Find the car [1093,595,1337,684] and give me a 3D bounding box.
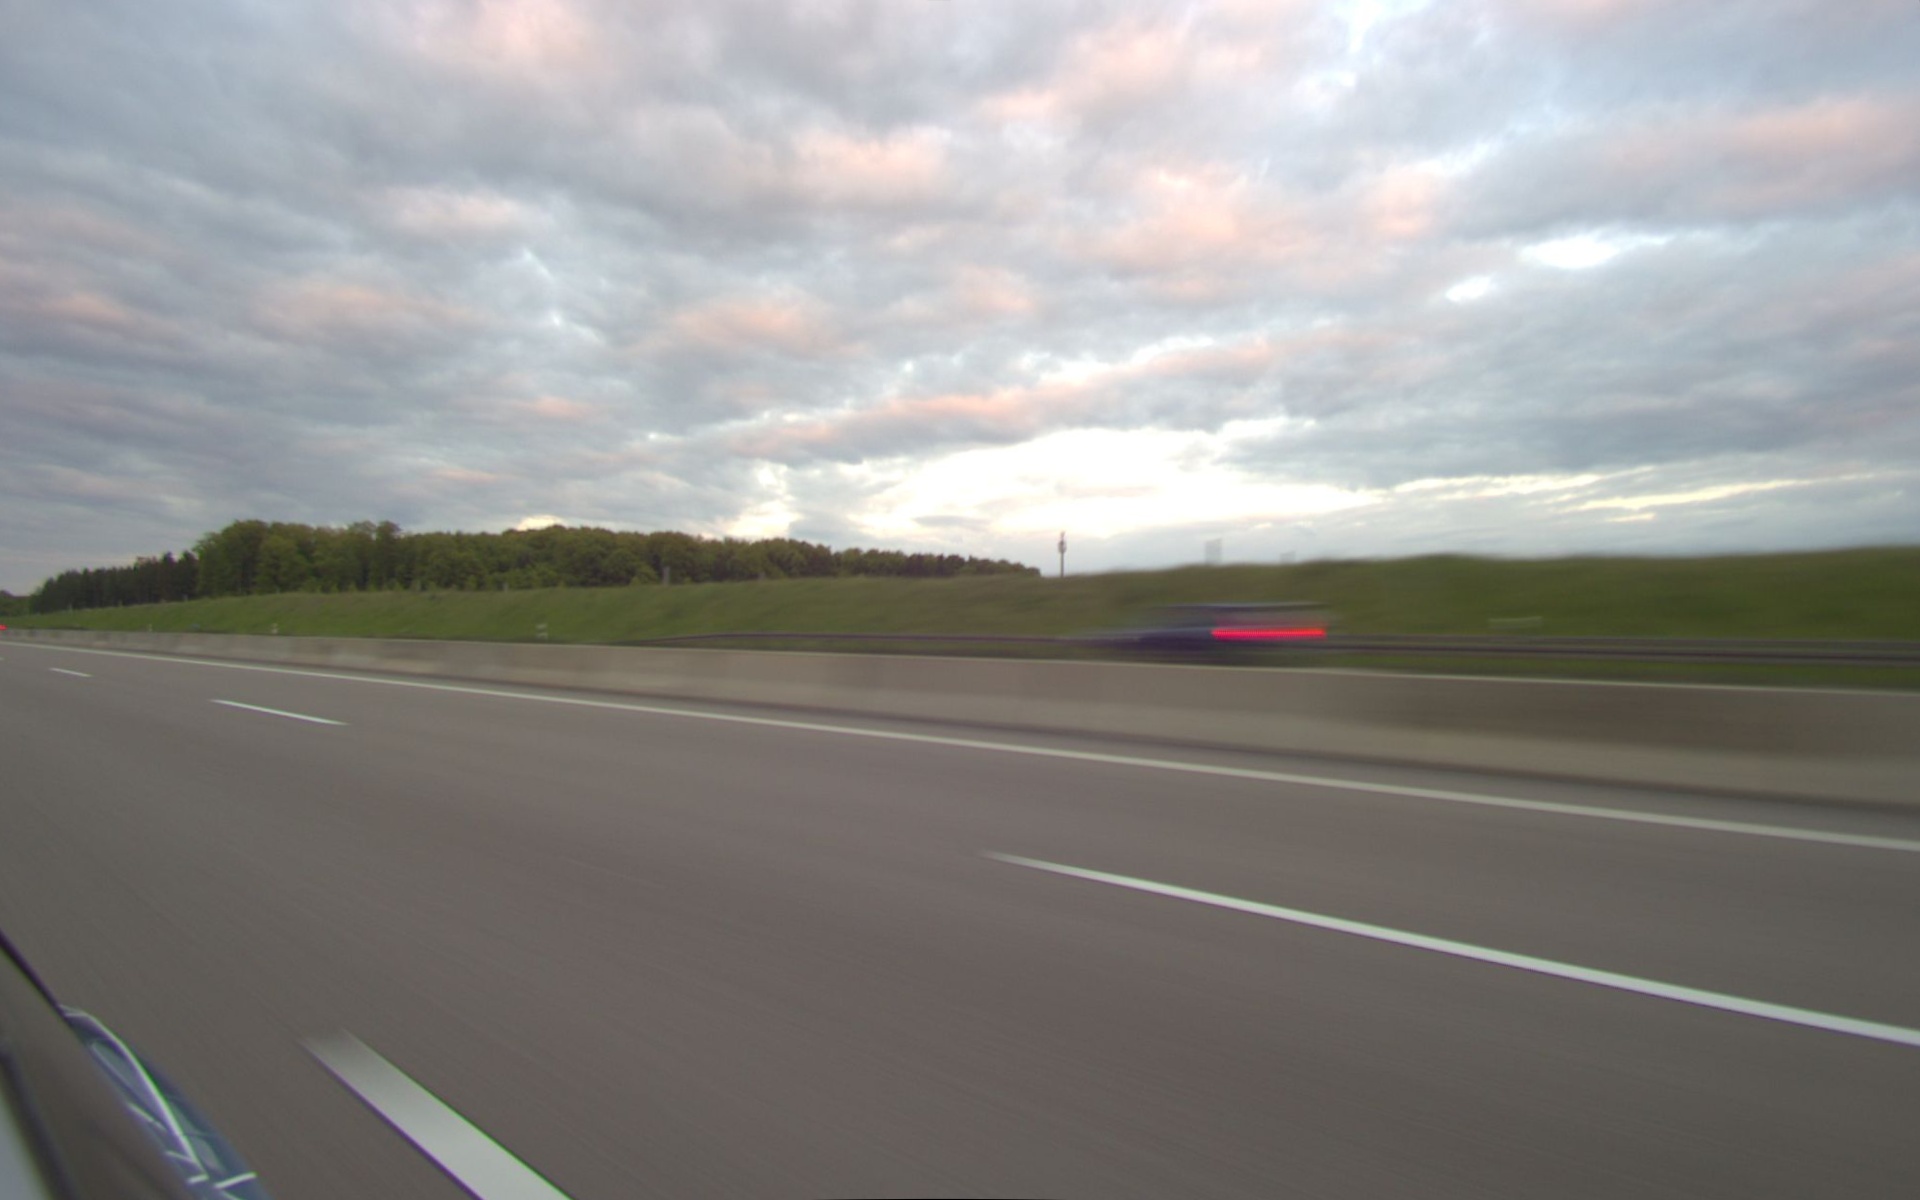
[{"bbox_3d":[5.744,0.853,23.248,5.085,1.841,1.973,-1,-1,40],"label":"car"}]
